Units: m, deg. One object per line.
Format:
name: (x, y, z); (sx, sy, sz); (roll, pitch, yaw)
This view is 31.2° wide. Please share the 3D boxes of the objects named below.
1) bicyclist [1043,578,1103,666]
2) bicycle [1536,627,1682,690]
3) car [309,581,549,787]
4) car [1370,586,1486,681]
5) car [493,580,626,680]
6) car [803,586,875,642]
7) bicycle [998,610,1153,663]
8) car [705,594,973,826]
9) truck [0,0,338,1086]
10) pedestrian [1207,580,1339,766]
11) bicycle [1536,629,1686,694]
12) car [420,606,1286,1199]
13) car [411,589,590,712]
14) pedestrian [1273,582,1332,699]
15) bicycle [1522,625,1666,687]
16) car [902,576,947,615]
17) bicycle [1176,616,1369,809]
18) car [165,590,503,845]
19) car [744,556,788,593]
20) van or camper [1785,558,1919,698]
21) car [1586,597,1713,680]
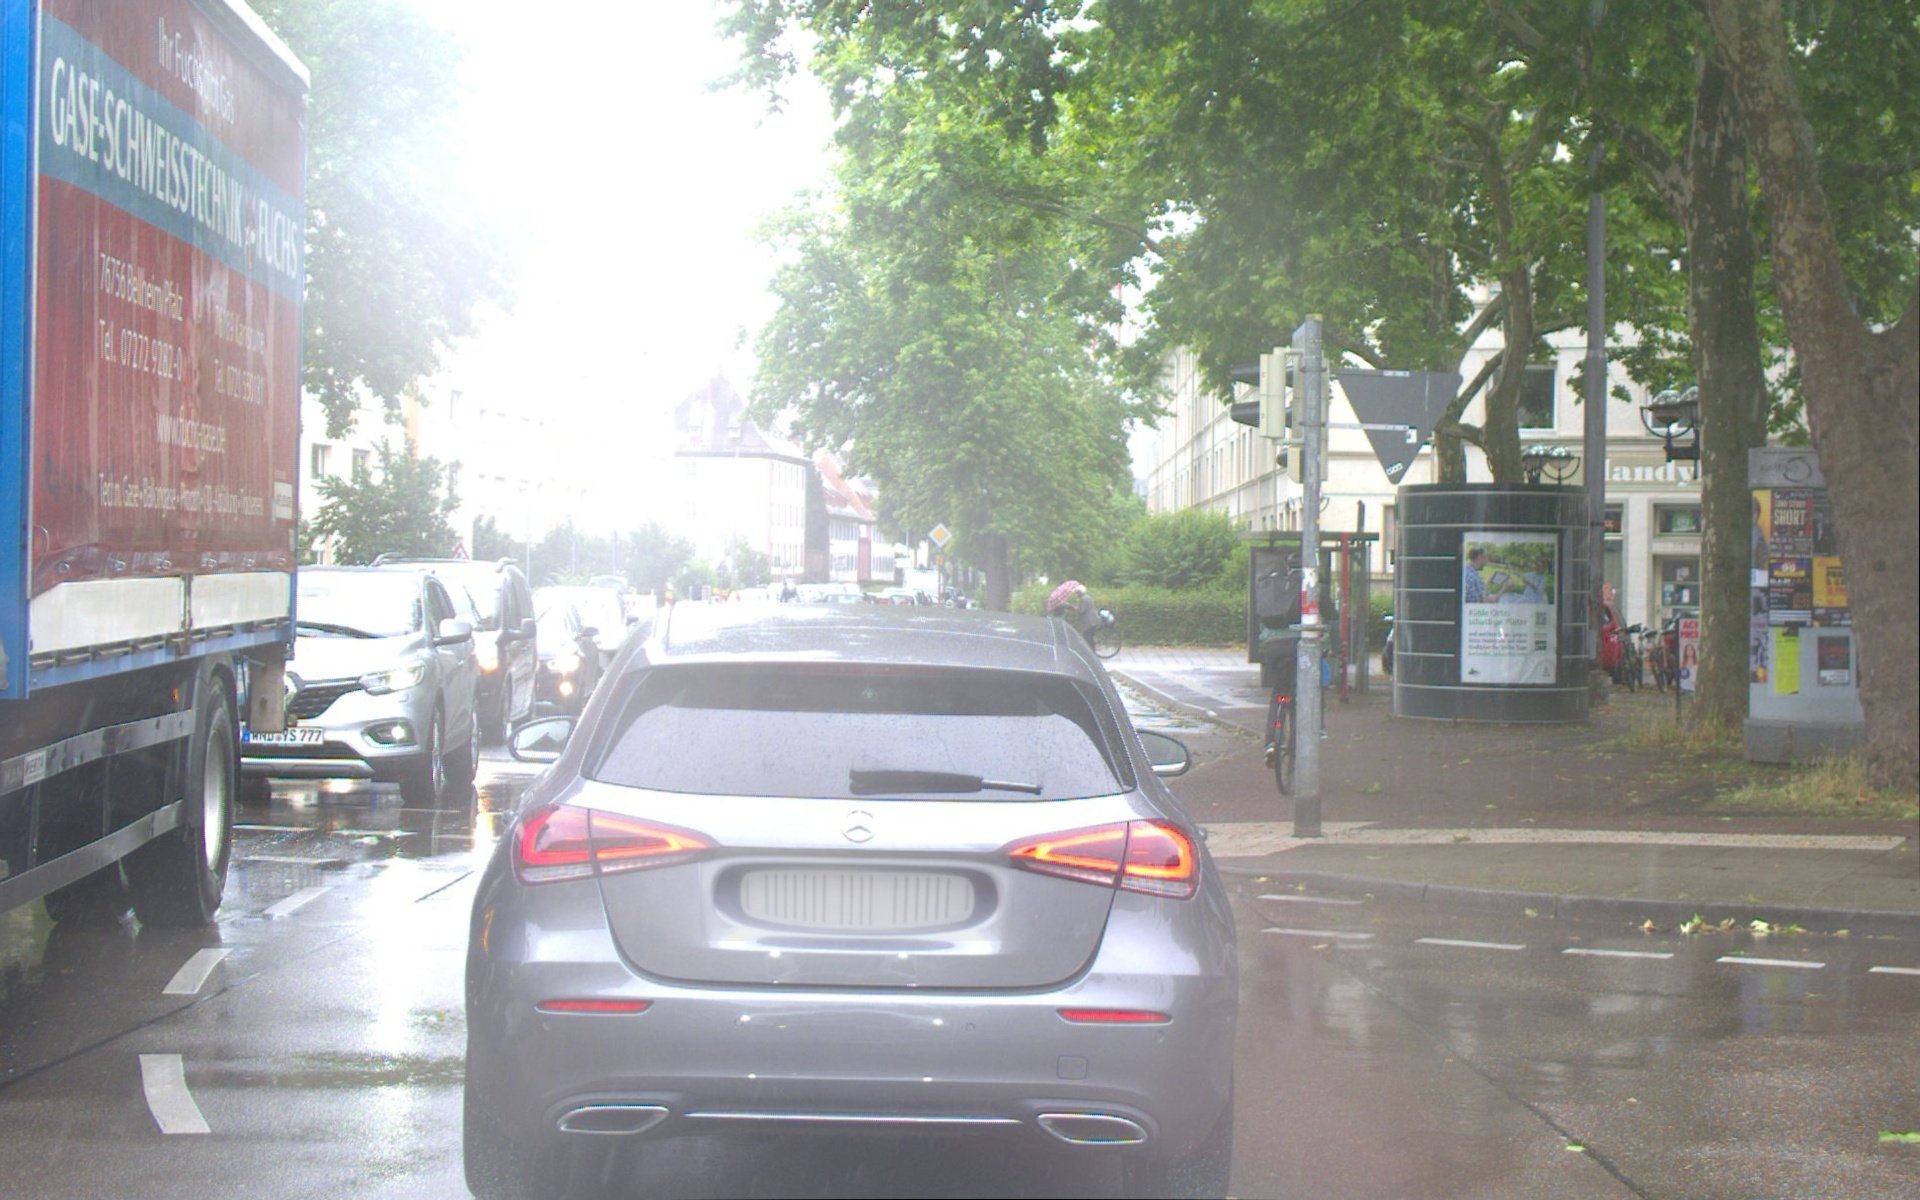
bicyclist: (2.436, 0.489, 74.186); (0.938, 1.862, 1.143); (1, -2, -21)
bicycle: (10.477, 0.944, 55.497); (2.254, 0.965, 0.534); (1, 0, 21)
car: (-5.081, 0.756, 33.381); (1.806, 1.855, 4.110); (1, 0, -2)
car: (8.253, 0.614, 60.416); (1.689, 1.546, 3.520); (1, -2, 13)
car: (-6.285, 0.446, 54.285); (1.845, 1.505, 4.056); (1, 0, -3)
car: (-3.558, 0.395, 100.372); (1.993, 1.568, 4.000); (1, 0, -3)
bicycle: (2.496, 0.797, 74.248); (3.205, 1.108, 1.054); (1, -2, -21)
car: (-0.813, 0.657, 22.639); (1.607, 1.368, 4.000); (0, 0, -2)
truck: (-4.271, -0.639, 11.958); (2.845, 4.012, 10.317); (0, 0, -3)
pedestrian: (2.412, 0.542, 26.435); (0.745, 1.393, 1.046); (0, 0, 22)
bicycle: (10.364, 0.978, 54.748); (2.284, 0.979, 0.545); (1, 0, 21)
car: (-0.302, 0.752, 9.049); (1.791, 1.368, 3.507); (2, 0, -2)
car: (-5.651, 0.610, 42.723); (1.742, 1.385, 4.363); (2, -1, -2)
pedestrian: (4.912, 0.577, 49.363); (0.716, 1.663, 0.665); (1, 0, -4)
bicycle: (10.430, 0.921, 56.582); (2.249, 0.965, 0.584); (1, 0, 21)
car: (-1.722, -0.214, 168.810); (2.046, 1.830, 4.792); (1, 0, 1)
bicycle: (2.439, 0.826, 26.481); (0.750, 1.372, 2.704); (0, 0, 21)
car: (-4.263, 0.747, 23.959); (1.742, 1.598, 4.000); (1, 0, -2)
car: (-9.927, -1.295, 176.063); (1.889, 1.830, 4.000); (1, 0, 1)
van or camper: (15.762, 0.463, 58.214); (2.400, 2.224, 5.422); (1, 0, 25)
car: (11.956, 0.686, 59.515); (1.584, 1.332, 3.258); (0, -2, 22)
